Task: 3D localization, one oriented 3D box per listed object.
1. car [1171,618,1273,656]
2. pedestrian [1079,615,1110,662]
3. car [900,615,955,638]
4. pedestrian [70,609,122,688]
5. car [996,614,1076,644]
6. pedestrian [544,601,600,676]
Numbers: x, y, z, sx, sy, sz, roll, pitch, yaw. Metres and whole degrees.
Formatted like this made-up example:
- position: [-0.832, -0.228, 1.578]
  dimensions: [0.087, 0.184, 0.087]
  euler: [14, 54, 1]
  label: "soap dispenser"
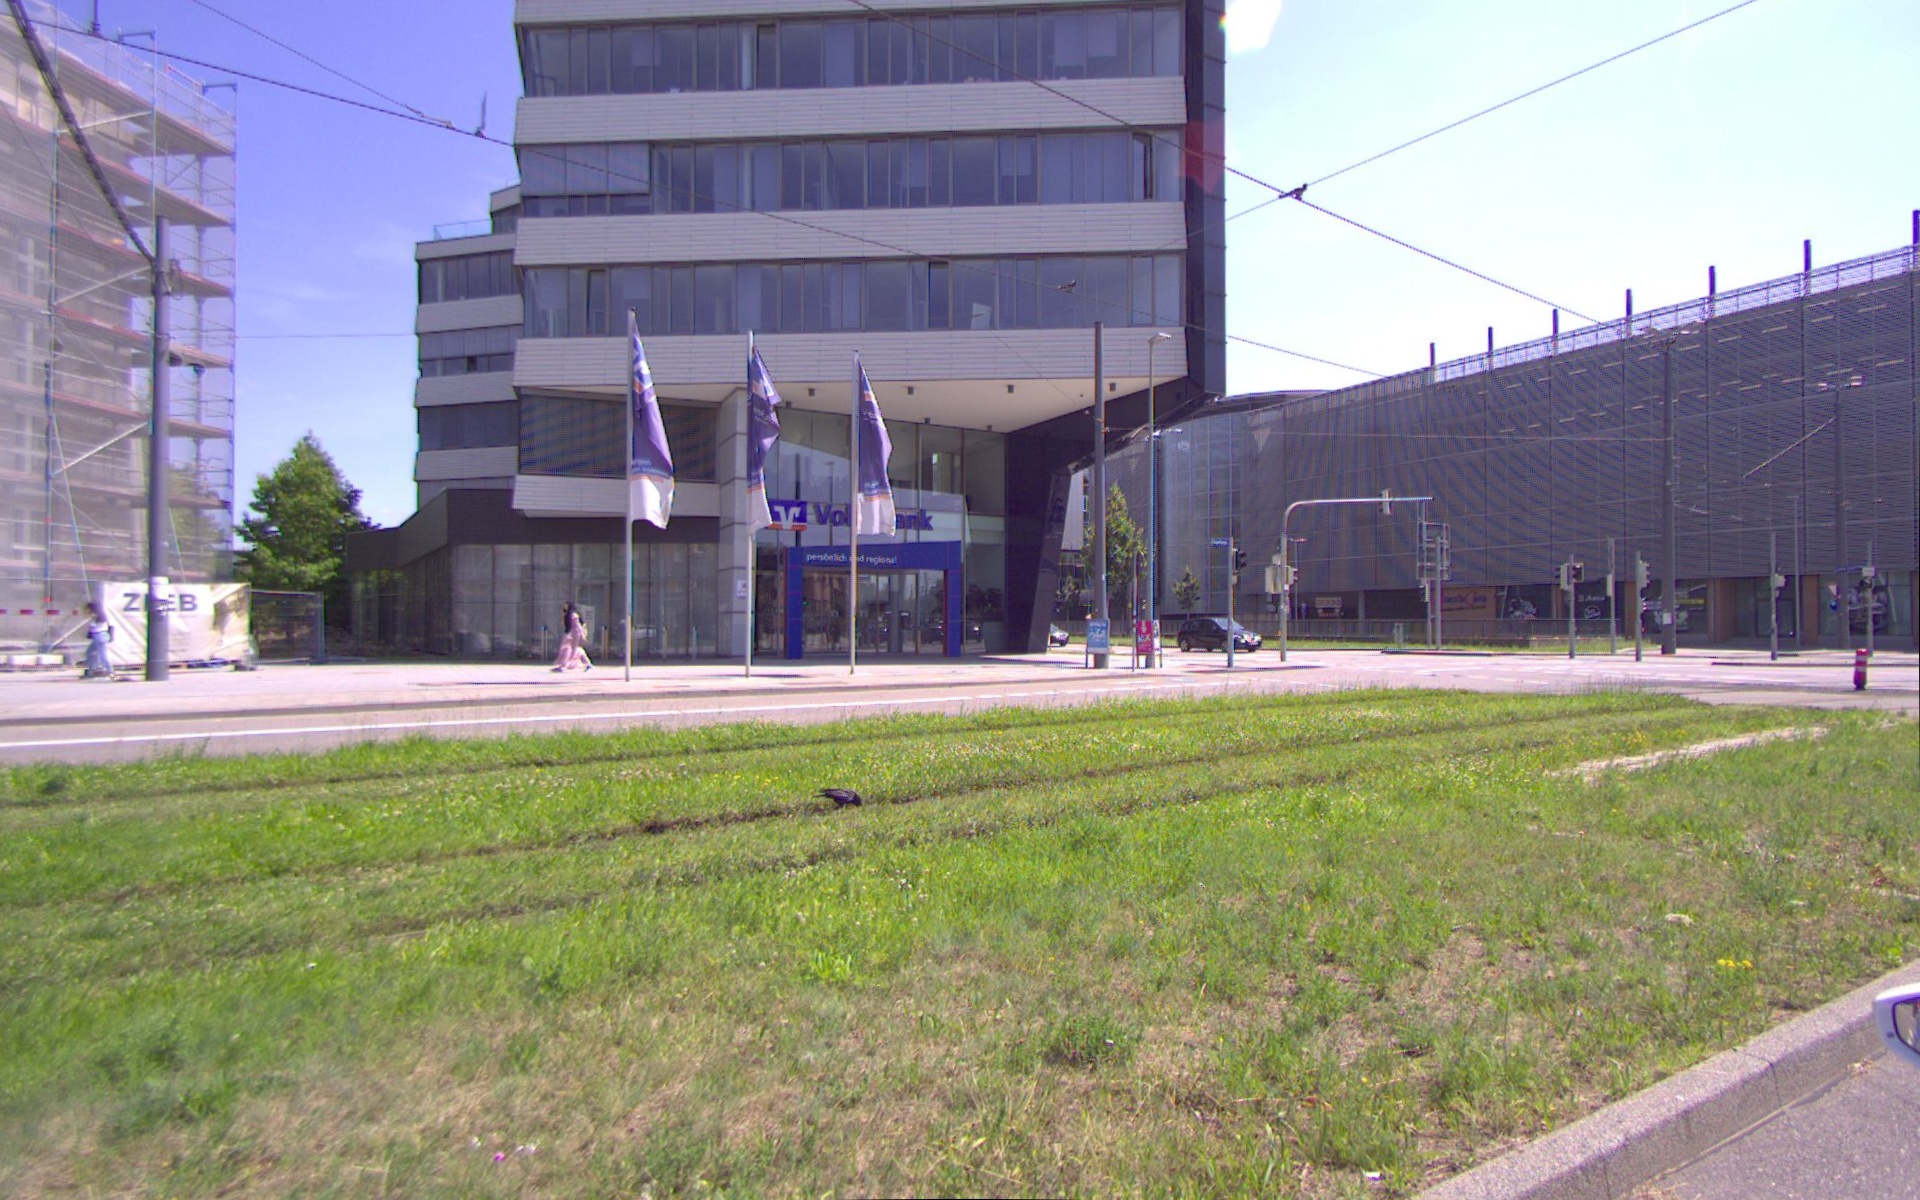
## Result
- position: [11.894, 1.629, 45.856]
  dimensions: [1.980, 1.574, 4.291]
  euler: [0, 0, -35]
  label: "car"
- position: [5.175, 1.470, 38.690]
  dimensions: [0.888, 1.770, 0.976]
  euler: [0, 0, 29]
  label: "pedestrian"
- position: [-2.156, 1.693, 65.536]
  dimensions: [1.618, 1.360, 4.278]
  euler: [0, 0, -34]
  label: "car"
- position: [-17.152, 0.947, 19.943]
  dimensions: [0.578, 1.539, 0.581]
  euler: [0, 0, 20]
  label: "pedestrian"
- position: [4.349, 1.663, 58.127]
  dimensions: [1.981, 1.602, 4.820]
  euler: [0, 0, -36]
  label: "car"
- position: [-8.744, 0.839, 22.650]
  dimensions: [0.737, 1.652, 0.912]
  euler: [0, 0, 35]
  label: "pedestrian"
